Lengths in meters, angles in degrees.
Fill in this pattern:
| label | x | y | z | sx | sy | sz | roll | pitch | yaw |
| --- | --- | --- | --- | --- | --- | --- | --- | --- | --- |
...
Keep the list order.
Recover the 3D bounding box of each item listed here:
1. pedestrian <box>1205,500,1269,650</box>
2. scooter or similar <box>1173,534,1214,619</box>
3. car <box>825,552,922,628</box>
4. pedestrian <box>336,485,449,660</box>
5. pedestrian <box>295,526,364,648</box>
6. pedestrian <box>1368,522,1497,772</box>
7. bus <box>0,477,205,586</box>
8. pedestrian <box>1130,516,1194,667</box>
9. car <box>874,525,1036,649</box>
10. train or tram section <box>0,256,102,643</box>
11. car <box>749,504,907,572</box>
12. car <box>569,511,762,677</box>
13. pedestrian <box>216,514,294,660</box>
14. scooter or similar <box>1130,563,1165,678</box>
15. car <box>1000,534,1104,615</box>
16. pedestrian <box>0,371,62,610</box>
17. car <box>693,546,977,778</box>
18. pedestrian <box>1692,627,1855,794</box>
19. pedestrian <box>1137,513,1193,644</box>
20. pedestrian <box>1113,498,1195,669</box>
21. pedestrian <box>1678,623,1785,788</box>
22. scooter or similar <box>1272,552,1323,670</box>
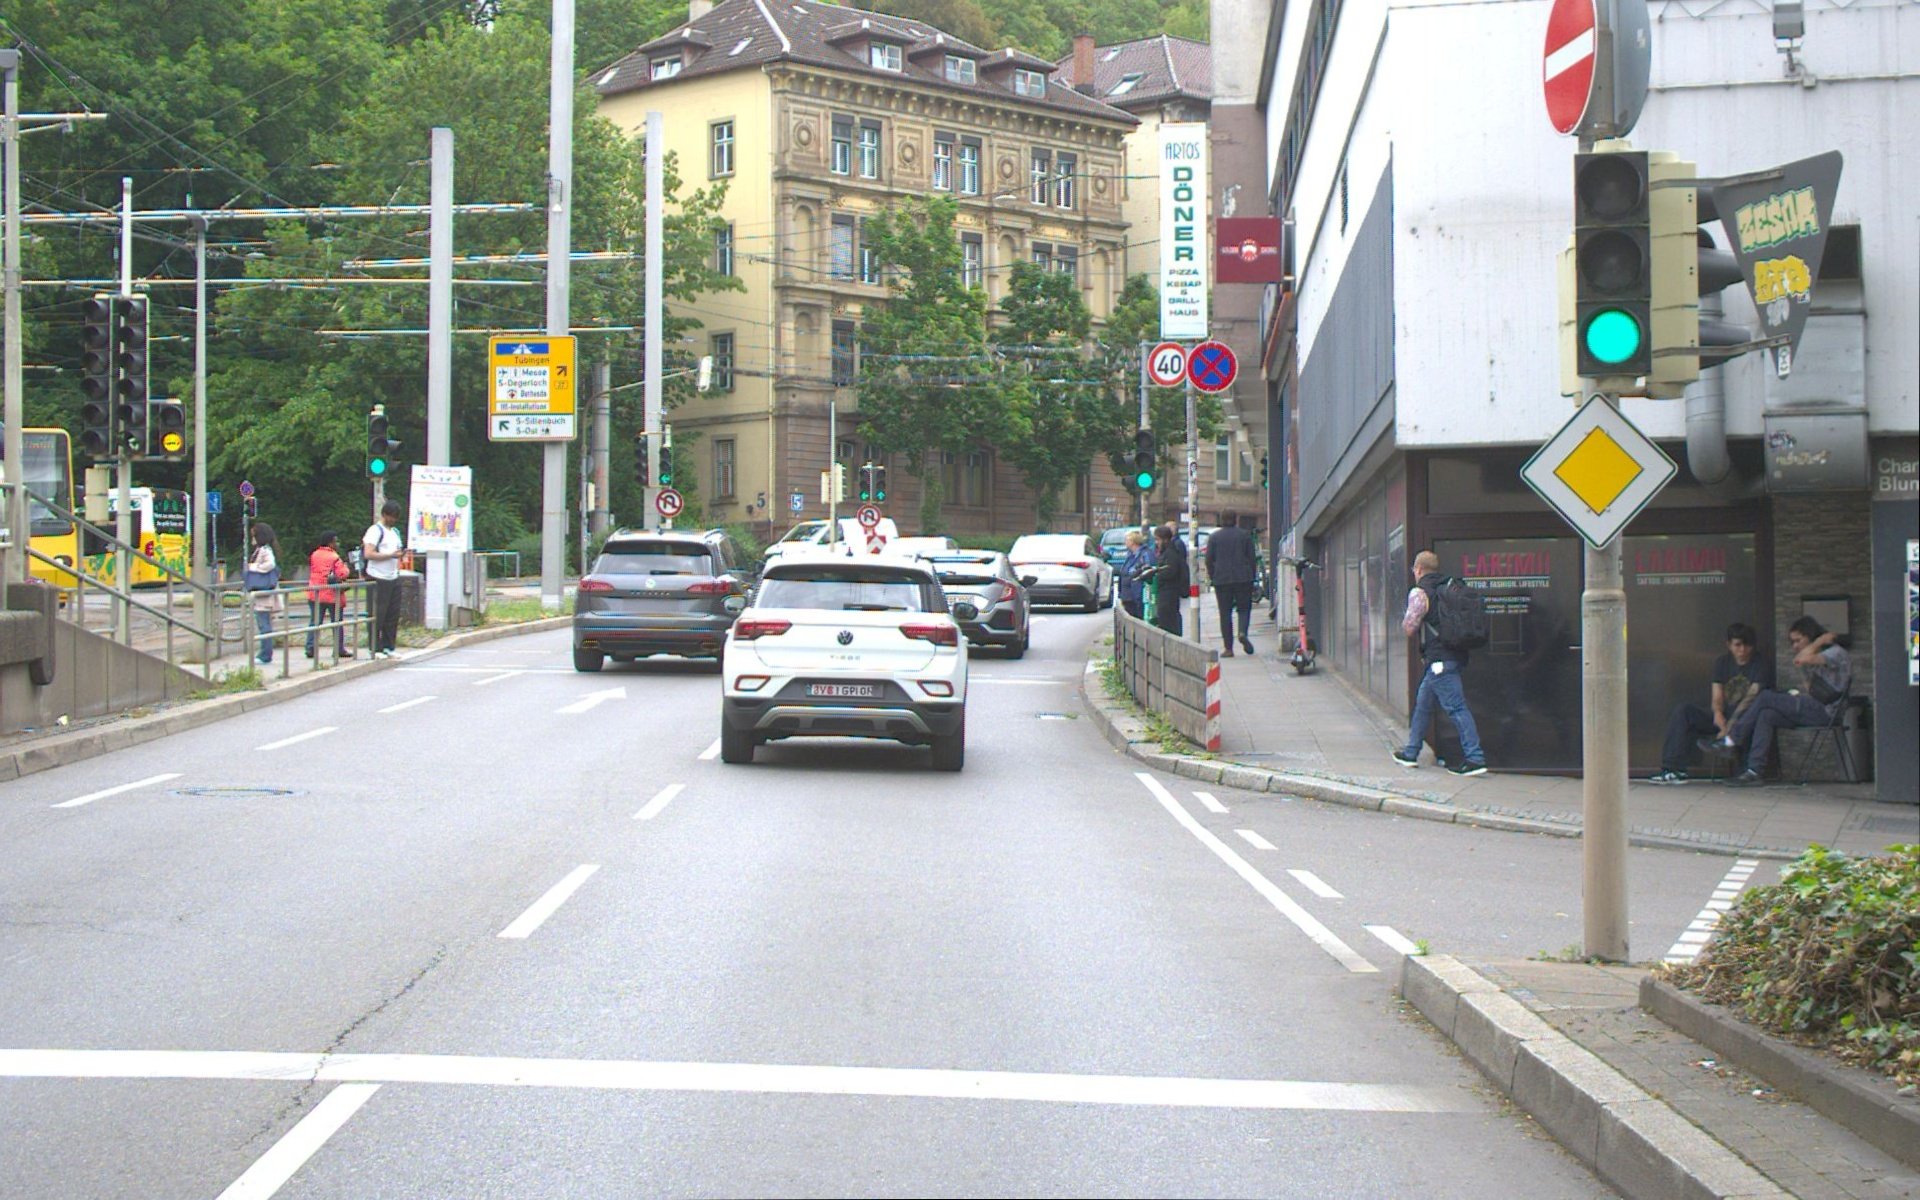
| label | x | y | z | sx | sy | sz | roll | pitch | yaw |
| --- | --- | --- | --- | --- | --- | --- | --- | --- | --- |
| pedestrian | 3.379 | -0.313 | 41.958 | 0.727 | 1.802 | 0.654 | 1 | 1 | 3 |
| scooter or similar | 4.078 | -0.412 | 60.021 | 0.668 | 1.470 | 1.178 | 0 | 1 | 7 |
| car | -1.768 | -0.235 | 71.472 | 1.938 | 1.501 | 3.806 | 1 | 1 | 0 |
| pedestrian | -6.909 | -0.320 | 41.860 | 0.966 | 2.060 | 1.031 | -2 | -3 | 19 |
| pedestrian | -7.741 | -0.157 | 42.217 | 0.577 | 1.459 | 0.675 | -2 | -3 | 19 |
| pedestrian | 3.438 | 0.332 | 25.062 | 0.720 | 1.779 | 0.883 | 1 | 1 | -4 |
| bus | -27.848 | -1.933 | 99.061 | 11.517 | 3.019 | 3.388 | 0 | 1 | 13 |
| pedestrian | 2.414 | -0.107 | 41.026 | 0.738 | 1.787 | 0.655 | -1 | 1 | 3 |
| car | -0.021 | -0.194 | 46.600 | 1.903 | 1.568 | 3.834 | 1 | 1 | 4 |
| train or tram section | -10.368 | -1.246 | 29.084 | 2.881 | 3.651 | 14.479 | -3 | 2 | -2 |
| car | -4.205 | -1.961 | 110.056 | 1.999 | 1.843 | 4.979 | 1 | -3 | 44 |
| car | -3.437 | -0.116 | 40.803 | 1.839 | 1.733 | 4.001 | 2 | 3 | 1 |
| pedestrian | -7.965 | -0.150 | 38.867 | 0.675 | 1.619 | 1.001 | 0 | 1 | -2 |
| scooter or similar | 2.098 | 0.220 | 38.599 | 0.354 | 1.271 | 0.813 | 1 | 1 | 2 |
| car | 1.787 | -0.513 | 66.466 | 1.938 | 1.501 | 3.806 | 1 | 1 | 2 |
| pedestrian | -7.366 | -0.792 | 25.523 | 1.116 | 1.674 | 1.041 | 0 | -4 | -1 |
| car | -0.887 | 0.402 | 25.979 | 1.938 | 1.561 | 4.046 | 2 | 1 | 0 |
| pedestrian | 6.105 | 0.817 | 25.772 | 1.107 | 1.184 | 0.742 | 2 | 1 | 17 |
| pedestrian | 2.675 | -0.281 | 44.858 | 0.562 | 1.646 | 0.591 | -6 | 1 | 3 |
| pedestrian | 2.381 | -0.208 | 42.159 | 0.946 | 2.055 | 0.778 | 2 | 1 | 3 |
| pedestrian | 5.993 | 0.809 | 26.674 | 0.735 | 1.231 | 0.717 | 2 | 1 | 16 |
| scooter or similar | 3.720 | 0.108 | 37.886 | 0.428 | 1.271 | 0.980 | 0 | 1 | 13 |
